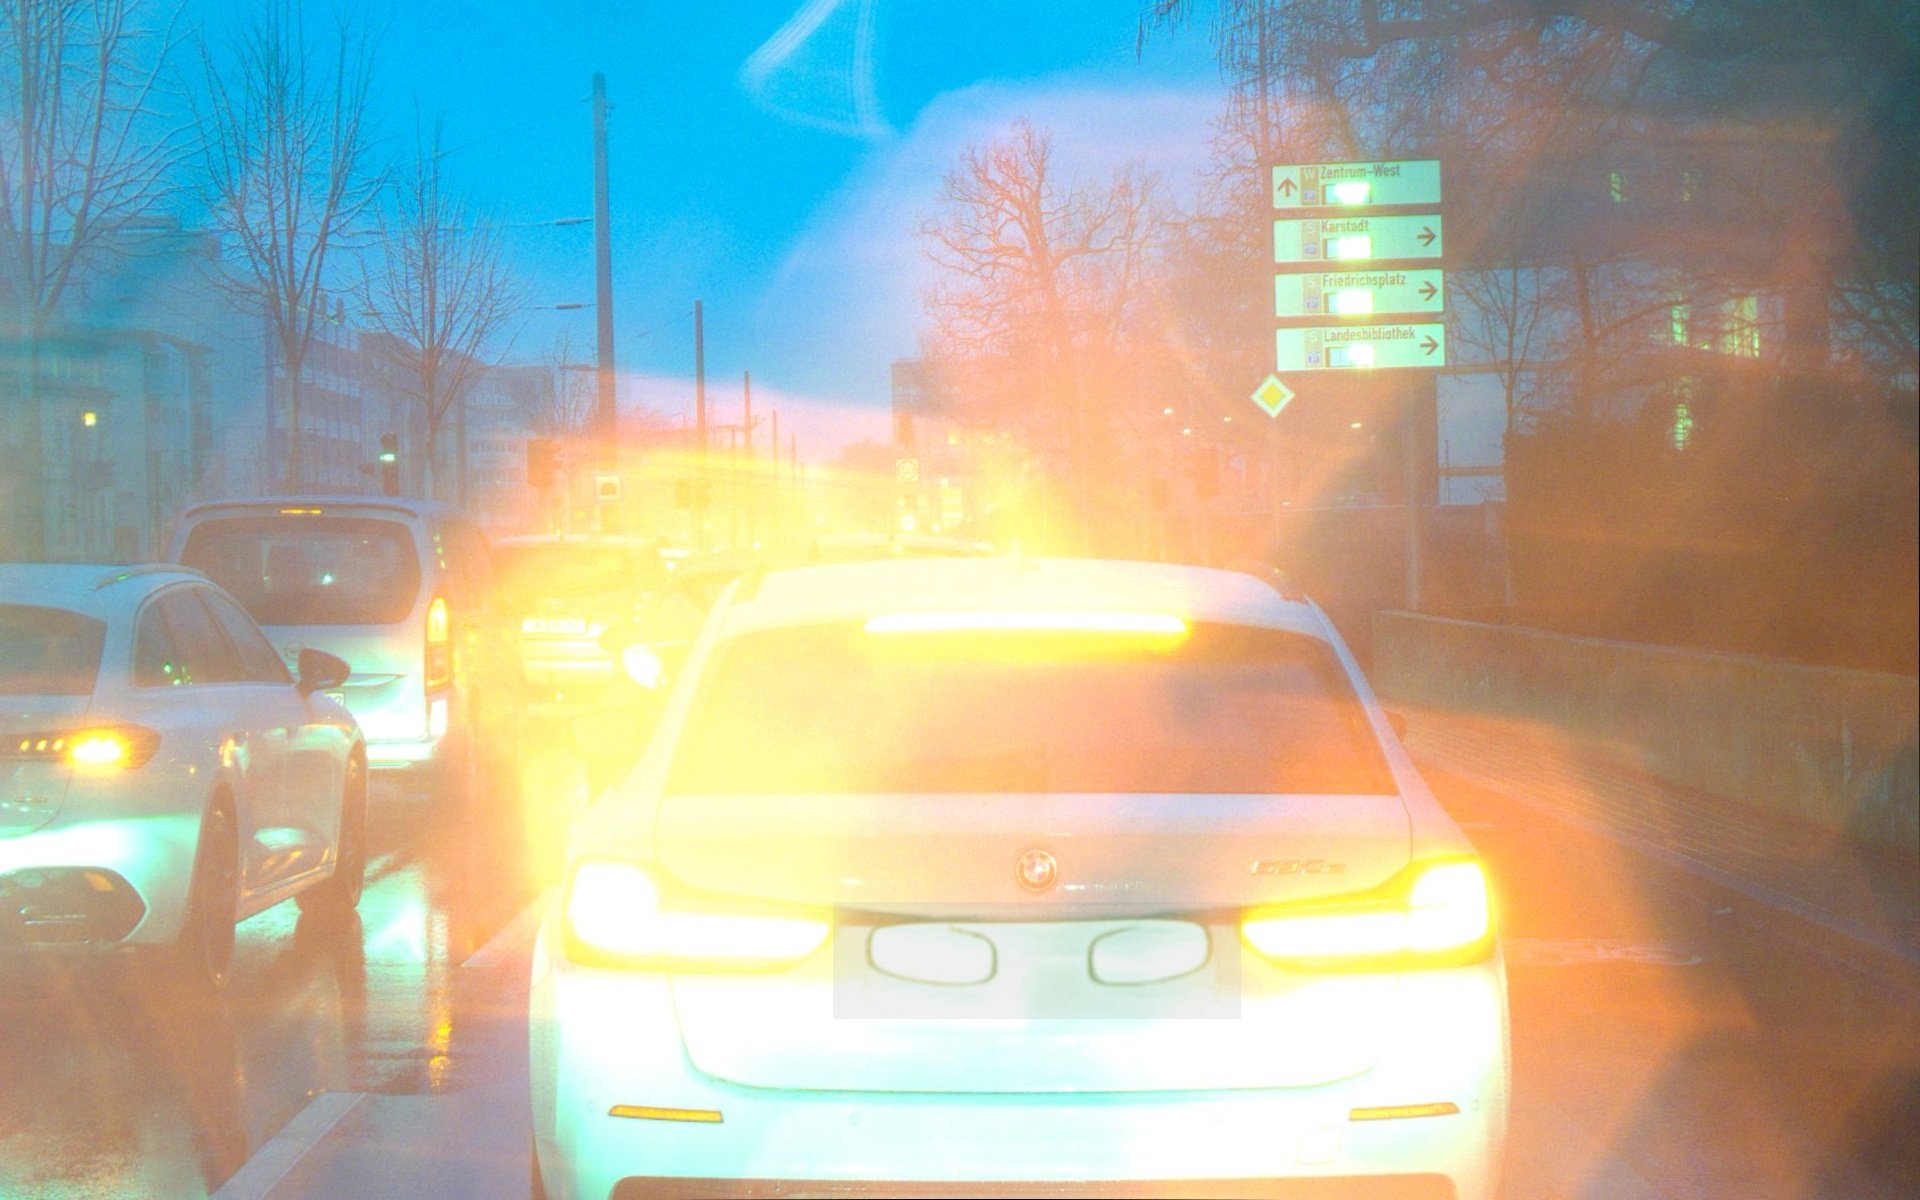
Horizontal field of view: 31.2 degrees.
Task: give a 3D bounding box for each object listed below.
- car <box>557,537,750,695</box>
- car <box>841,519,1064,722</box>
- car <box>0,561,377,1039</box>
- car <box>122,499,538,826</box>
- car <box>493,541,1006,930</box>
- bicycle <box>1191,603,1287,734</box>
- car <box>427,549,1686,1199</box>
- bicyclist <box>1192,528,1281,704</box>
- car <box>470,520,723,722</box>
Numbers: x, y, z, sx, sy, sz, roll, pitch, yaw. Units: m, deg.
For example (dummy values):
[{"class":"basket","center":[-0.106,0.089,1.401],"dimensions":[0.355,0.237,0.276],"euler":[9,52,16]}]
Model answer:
[{"class":"car","center":[-3.333,0.131,37.968],"dimensions":[1.806,1.640,4.000],"euler":[0,1,0]},{"class":"car","center":[-0.079,0.129,29.779],"dimensions":[1.806,1.640,4.000],"euler":[0,1,0]},{"class":"car","center":[-3.359,0.564,12.431],"dimensions":[1.846,1.400,4.614],"euler":[0,1,-2]},{"class":"car","center":[-3.617,0.304,20.486],"dimensions":[1.793,1.730,4.538],"euler":[0,1,-2]},{"class":"car","center":[-0.819,0.477,15.102],"dimensions":[1.936,1.452,4.164],"euler":[0,1,-1]},{"class":"bicycle","center":[2.235,0.530,27.714],"dimensions":[0.645,0.963,2.046],"euler":[-1,1,2]},{"class":"car","center":[0.134,0.655,7.552],"dimensions":[1.999,1.503,4.164],"euler":[0,1,-1]},{"class":"bicyclist","center":[2.223,0.118,27.737],"dimensions":[0.645,1.384,0.890],"euler":[-1,1,2]},{"class":"car","center":[-3.086,0.130,29.887],"dimensions":[1.806,1.640,4.000],"euler":[0,1,0]}]
